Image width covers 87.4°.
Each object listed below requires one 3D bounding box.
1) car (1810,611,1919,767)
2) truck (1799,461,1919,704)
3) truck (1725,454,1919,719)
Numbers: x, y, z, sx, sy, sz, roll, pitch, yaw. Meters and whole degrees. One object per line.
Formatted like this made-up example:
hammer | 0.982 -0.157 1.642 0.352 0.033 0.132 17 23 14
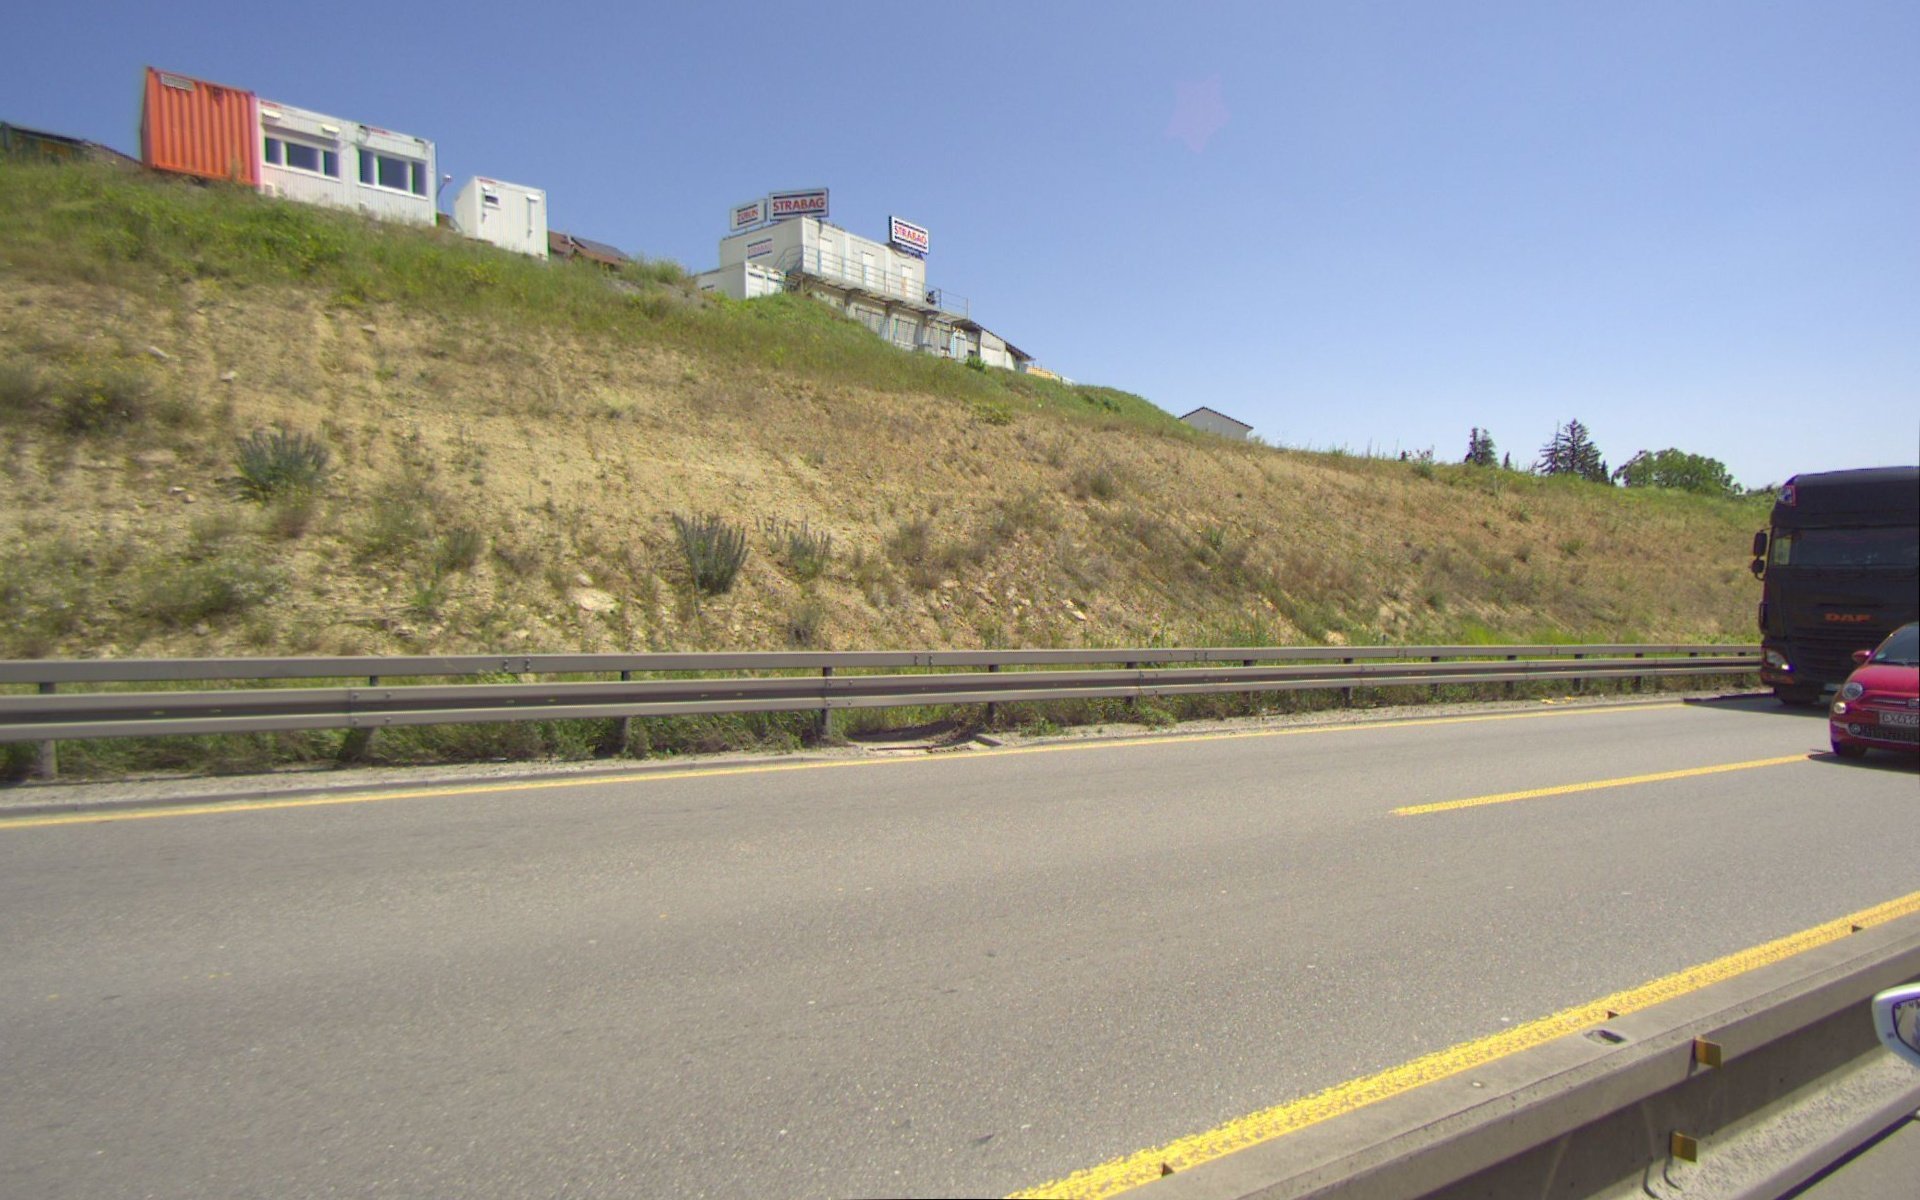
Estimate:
car | 10.717 0.904 10.673 3.256 1.506 1.583 1 0 -30
truck | 22.076 -0.181 20.779 13.644 4.142 2.754 1 1 -30
truck | 15.817 -0.178 17.074 4.906 3.936 2.754 1 1 -30
